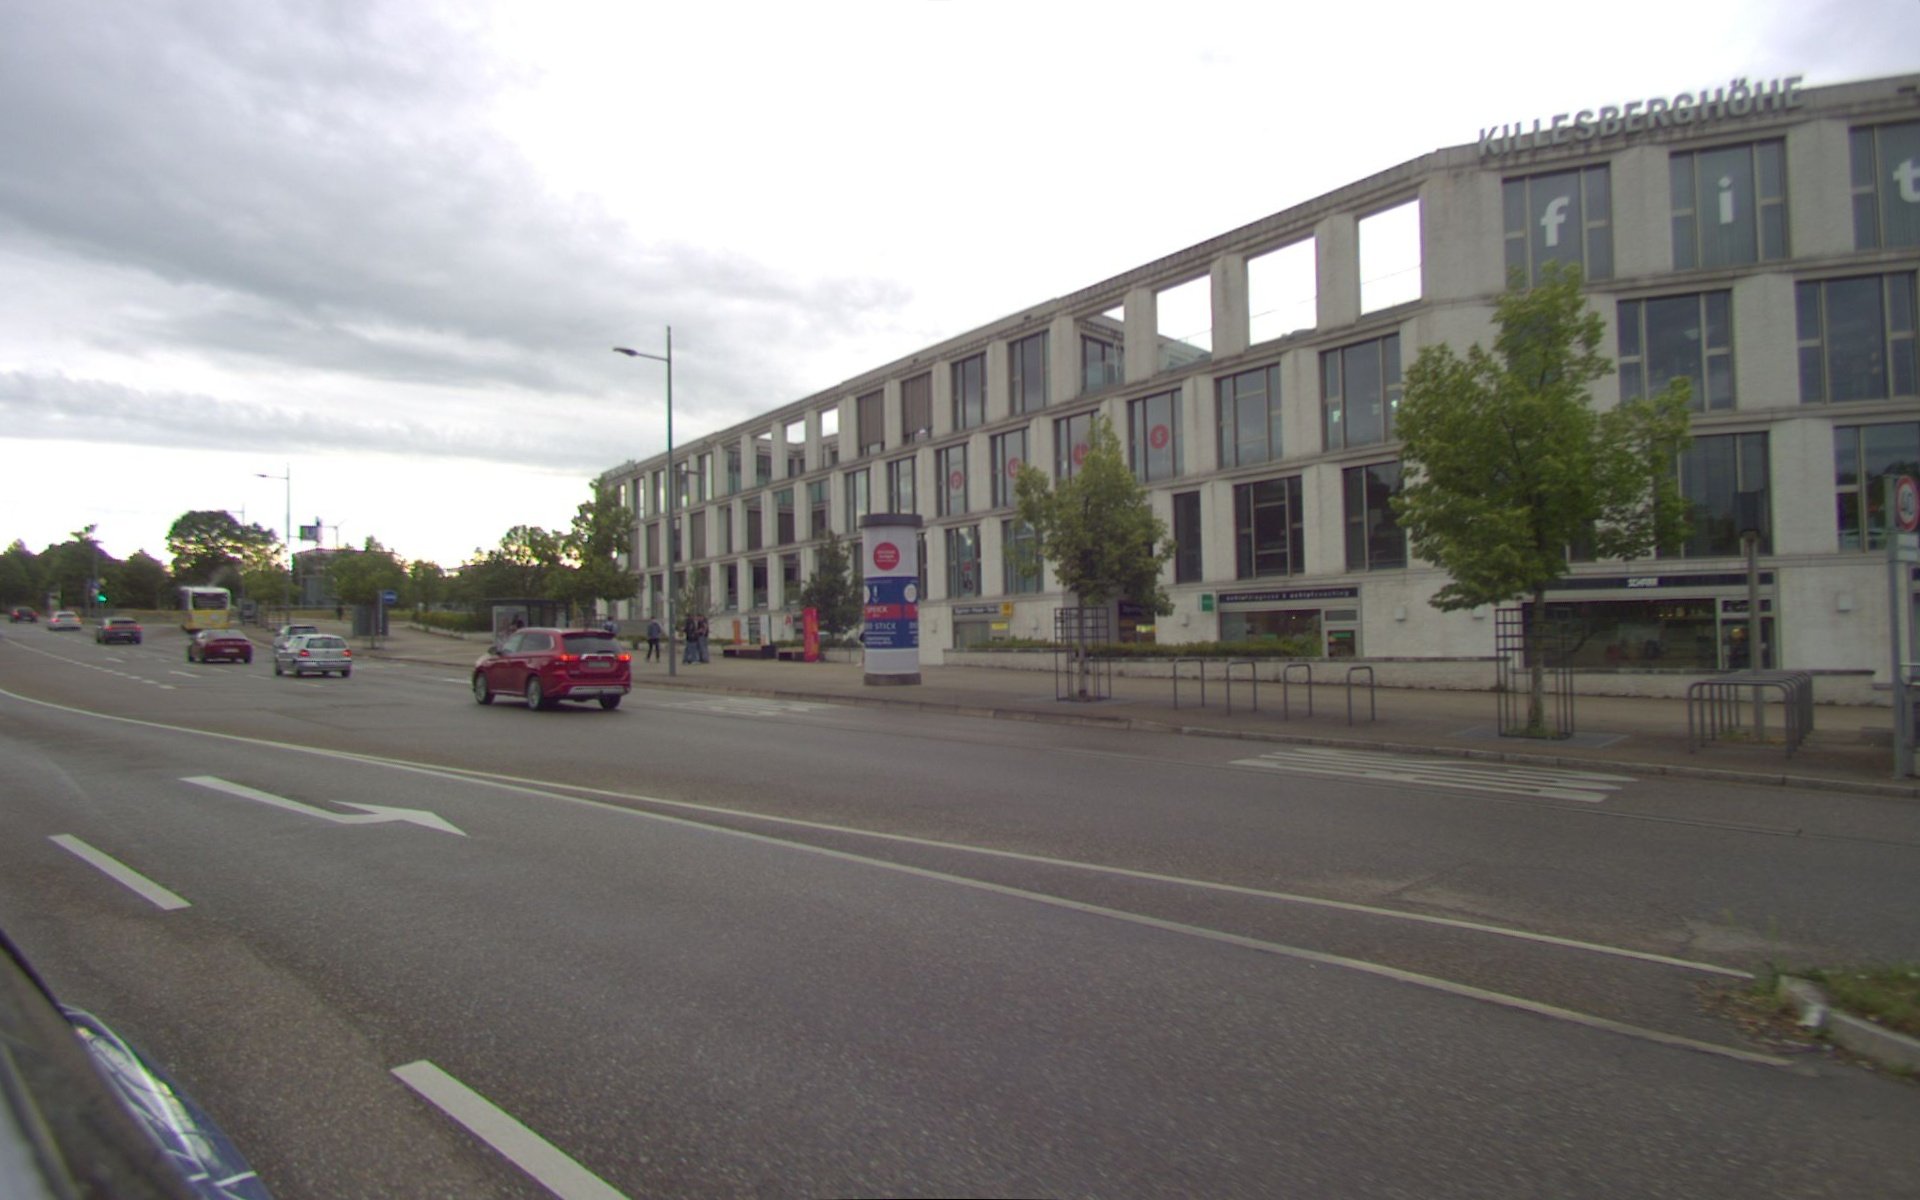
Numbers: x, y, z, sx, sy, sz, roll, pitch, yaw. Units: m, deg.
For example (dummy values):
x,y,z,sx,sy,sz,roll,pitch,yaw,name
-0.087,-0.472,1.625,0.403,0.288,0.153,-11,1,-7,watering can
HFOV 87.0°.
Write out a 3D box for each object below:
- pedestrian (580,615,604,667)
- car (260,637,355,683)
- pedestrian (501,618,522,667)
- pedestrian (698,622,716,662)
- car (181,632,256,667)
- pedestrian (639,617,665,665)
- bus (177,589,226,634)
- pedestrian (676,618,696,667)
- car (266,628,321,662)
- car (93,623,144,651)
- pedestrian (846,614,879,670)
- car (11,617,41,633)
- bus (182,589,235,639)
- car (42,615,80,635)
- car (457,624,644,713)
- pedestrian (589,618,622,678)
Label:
x,y,z,sx,sy,sz,roll,pitch,yaw,name
-13.443,1.483,36.963,0.606,1.870,0.574,-1,-1,41,pedestrian
-21.842,1.986,33.841,3.879,1.427,1.743,-2,-4,43,car
-17.189,1.606,38.783,0.755,1.856,0.502,-1,-1,42,pedestrian
-9.301,1.549,37.238,0.510,1.462,0.421,-1,-1,44,pedestrian
-32.264,2.147,43.997,4.466,1.427,1.811,-2,-4,43,car
-11.566,1.536,38.025,0.591,1.775,0.858,1,-1,-45,pedestrian
-63.408,0.859,84.553,2.786,3.498,9.992,-1,1,-39,bus
-9.697,1.494,35.842,0.621,1.738,0.421,-1,-1,44,pedestrian
-32.449,2.175,49.283,2.973,1.519,1.596,0,0,43,car
-52.679,2.309,63.322,4.594,1.584,1.811,0,-3,43,car
-3.020,1.286,31.299,0.911,1.703,0.494,-1,-1,27,pedestrian
-89.394,2.414,96.827,3.867,1.473,1.826,0,-2,43,car
-57.617,0.980,77.504,2.786,3.498,8.246,-1,1,-39,bus
-71.560,1.969,80.529,4.176,1.441,1.852,0,-3,43,car
-8.778,1.399,21.491,4.738,1.696,1.833,-2,-4,43,car
-11.187,1.505,31.970,0.744,1.856,0.747,1,-1,-45,pedestrian
